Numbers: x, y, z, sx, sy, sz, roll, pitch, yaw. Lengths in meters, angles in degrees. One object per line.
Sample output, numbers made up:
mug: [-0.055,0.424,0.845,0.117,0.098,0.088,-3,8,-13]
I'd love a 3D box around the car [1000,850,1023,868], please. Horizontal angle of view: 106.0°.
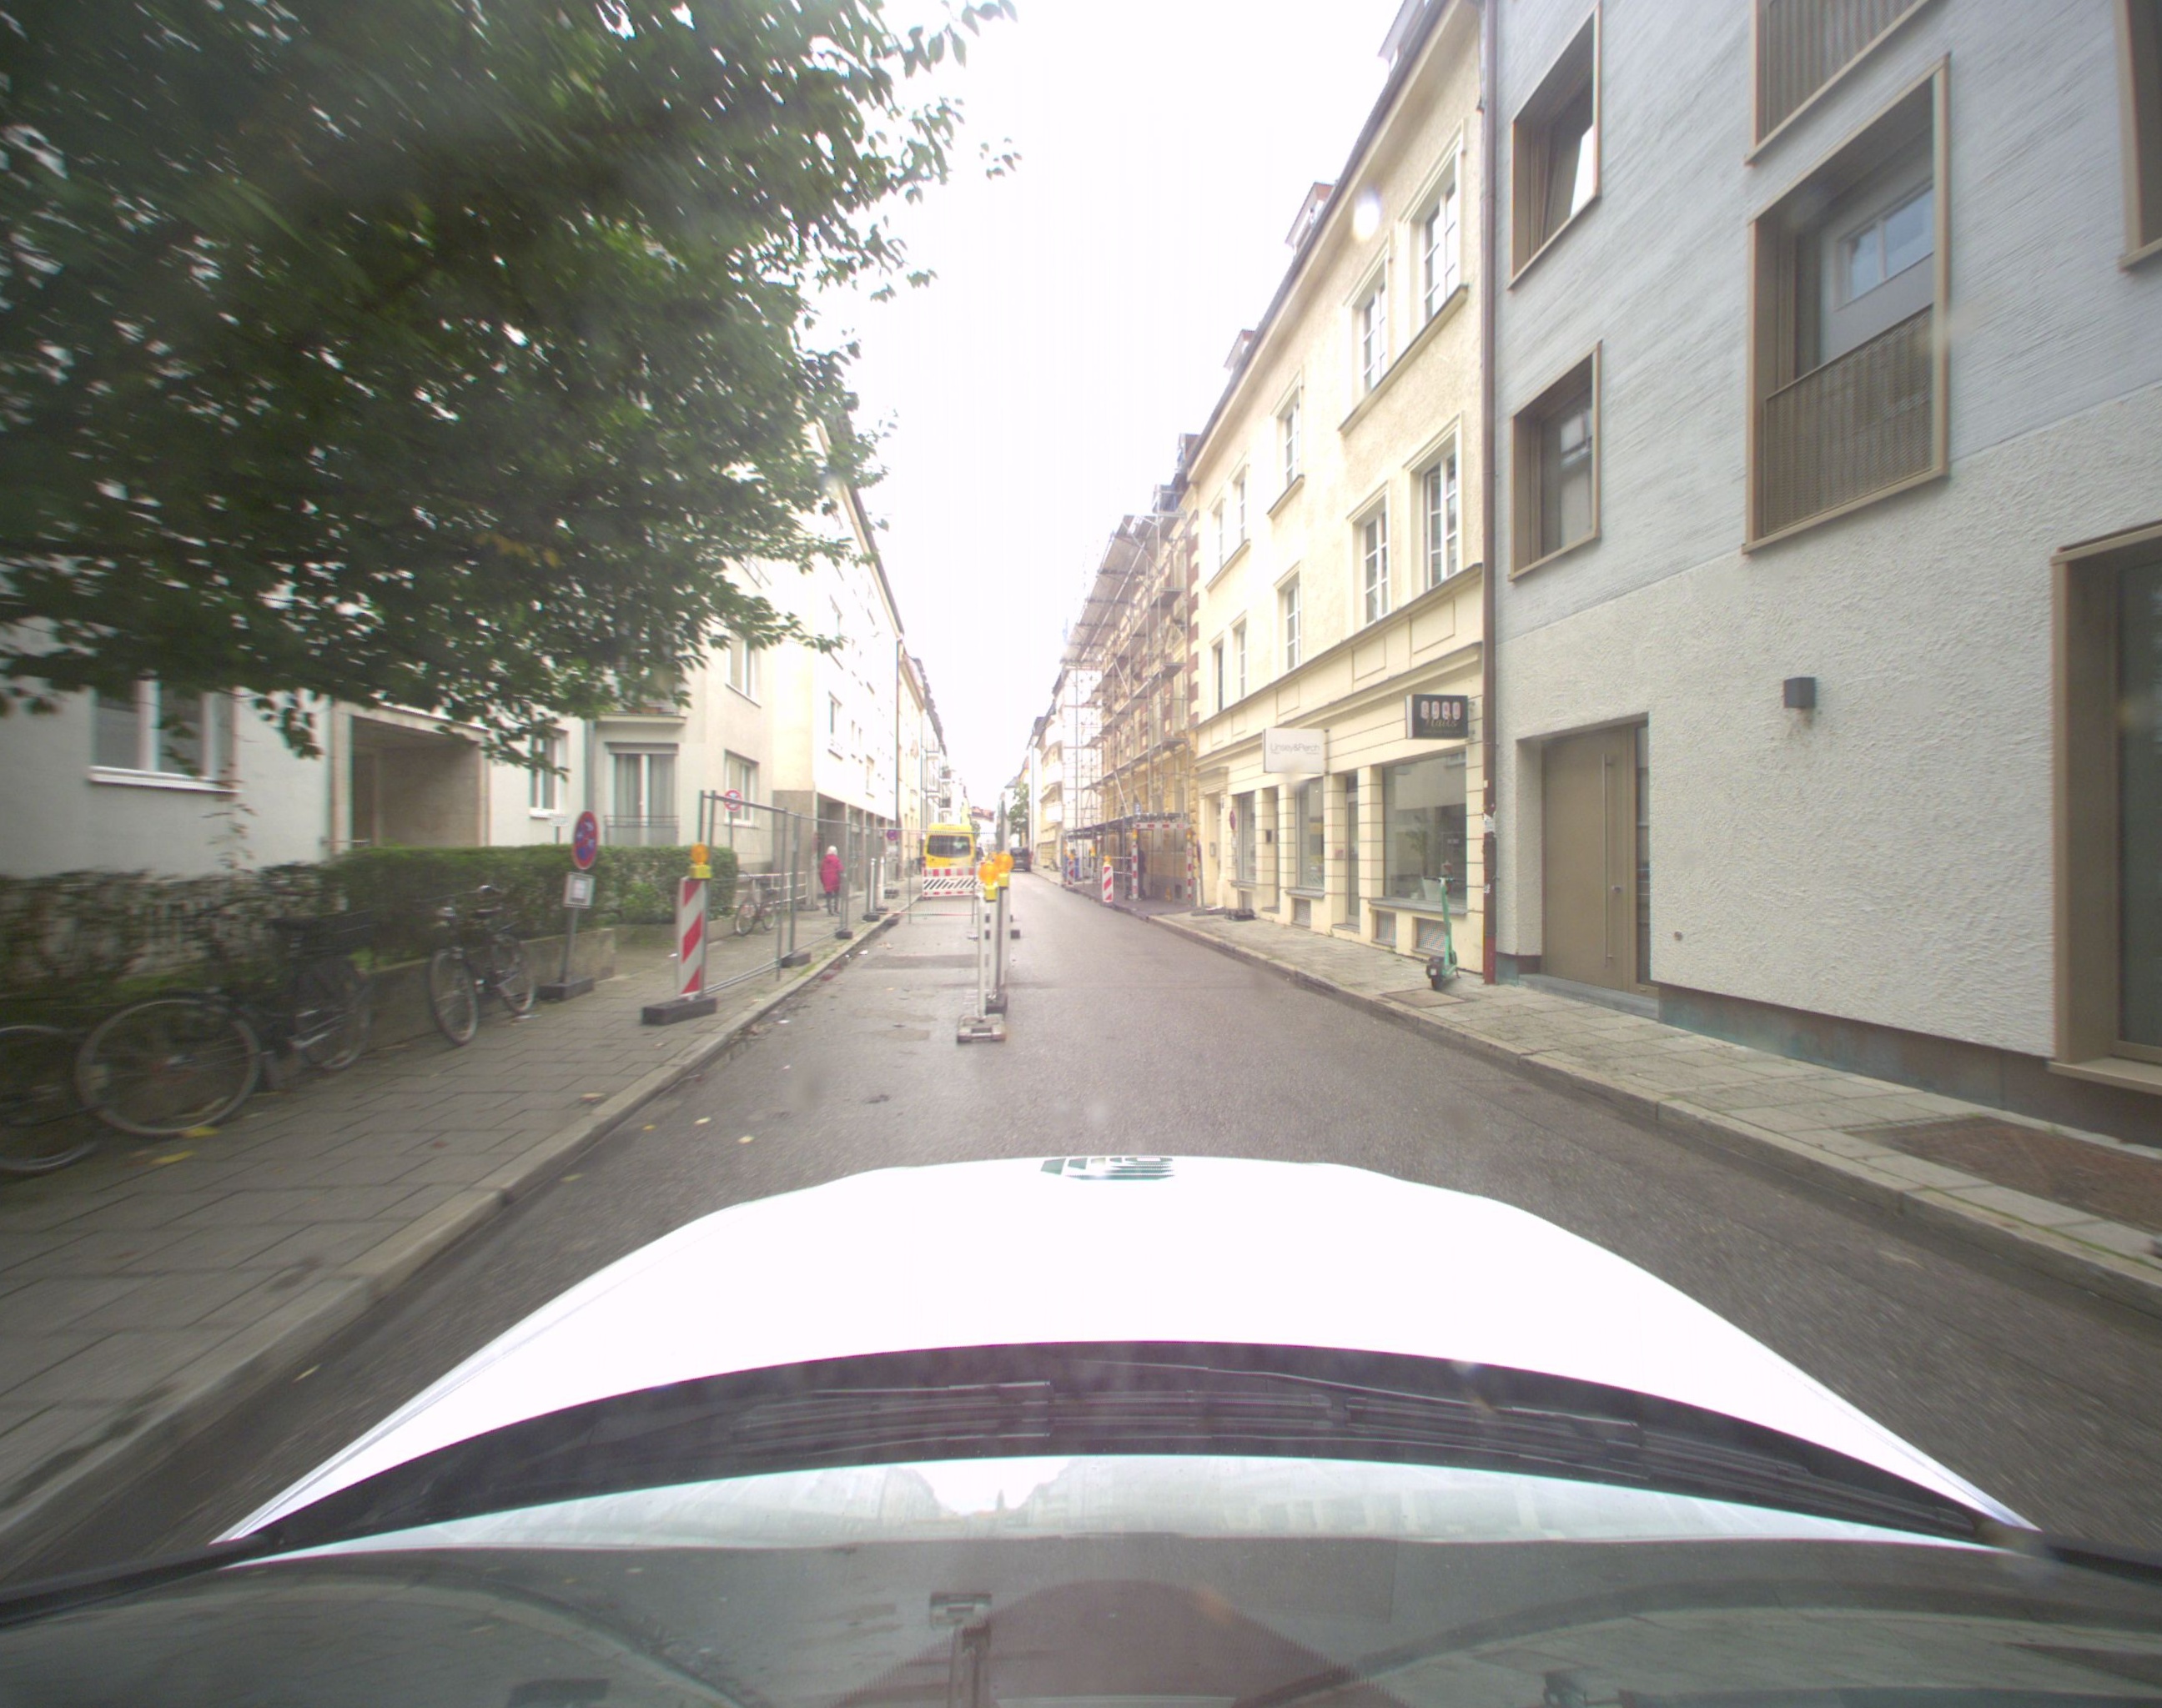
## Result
car: [-6.450,0.445,75.075,1.893,1.641,4.310,0,0,-8]

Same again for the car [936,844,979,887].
car: [-6.075,0.530,40.136,1.916,1.897,4.777,-2,0,-8]

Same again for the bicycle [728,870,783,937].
bicycle: [-5.750,0.851,14.458,0.376,1.063,1.594,6,-1,-6]

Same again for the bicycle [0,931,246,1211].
bicycle: [-4.347,0.870,3.204,0.435,0.978,1.695,3,-1,-6]

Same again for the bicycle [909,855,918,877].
bicycle: [-9.757,0.683,47.533,0.382,1.188,2.125,1,1,-15]

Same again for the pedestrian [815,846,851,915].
pedestrian: [-5.663,0.594,18.627,0.637,1.532,0.746,0,0,-5]

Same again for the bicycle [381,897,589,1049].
bicycle: [-4.712,0.885,6.604,0.443,0.978,1.812,3,-1,-6]

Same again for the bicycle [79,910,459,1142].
bicycle: [-4.514,0.875,4.753,0.443,0.978,1.849,3,-1,-6]

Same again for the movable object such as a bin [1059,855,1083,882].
movable object such as a bin: [-0.522,0.753,43.444,1.081,1.346,1.319,-3,0,5]

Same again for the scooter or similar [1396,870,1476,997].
scooter or similar: [3.916,0.816,8.920,0.489,1.183,1.618,-3,1,33]

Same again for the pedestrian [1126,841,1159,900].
pedestrian: [1.902,0.491,25.375,0.729,1.752,0.985,-4,0,-8]

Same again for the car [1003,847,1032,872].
car: [-5.130,0.405,65.400,1.992,1.932,4.647,1,0,-8]

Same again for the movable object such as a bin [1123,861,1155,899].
movable object such as a bin: [1.836,0.813,25.912,0.729,1.141,0.985,-4,1,-8]

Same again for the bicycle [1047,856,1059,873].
bicycle: [-2.045,0.750,58.855,0.637,1.153,1.911,-3,1,-6]

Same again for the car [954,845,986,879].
car: [-6.630,0.452,48.813,1.726,1.897,5.494,-2,0,-7]

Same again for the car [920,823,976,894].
car: [-5.290,0.162,33.049,1.992,2.578,6.718,-1,0,-8]
